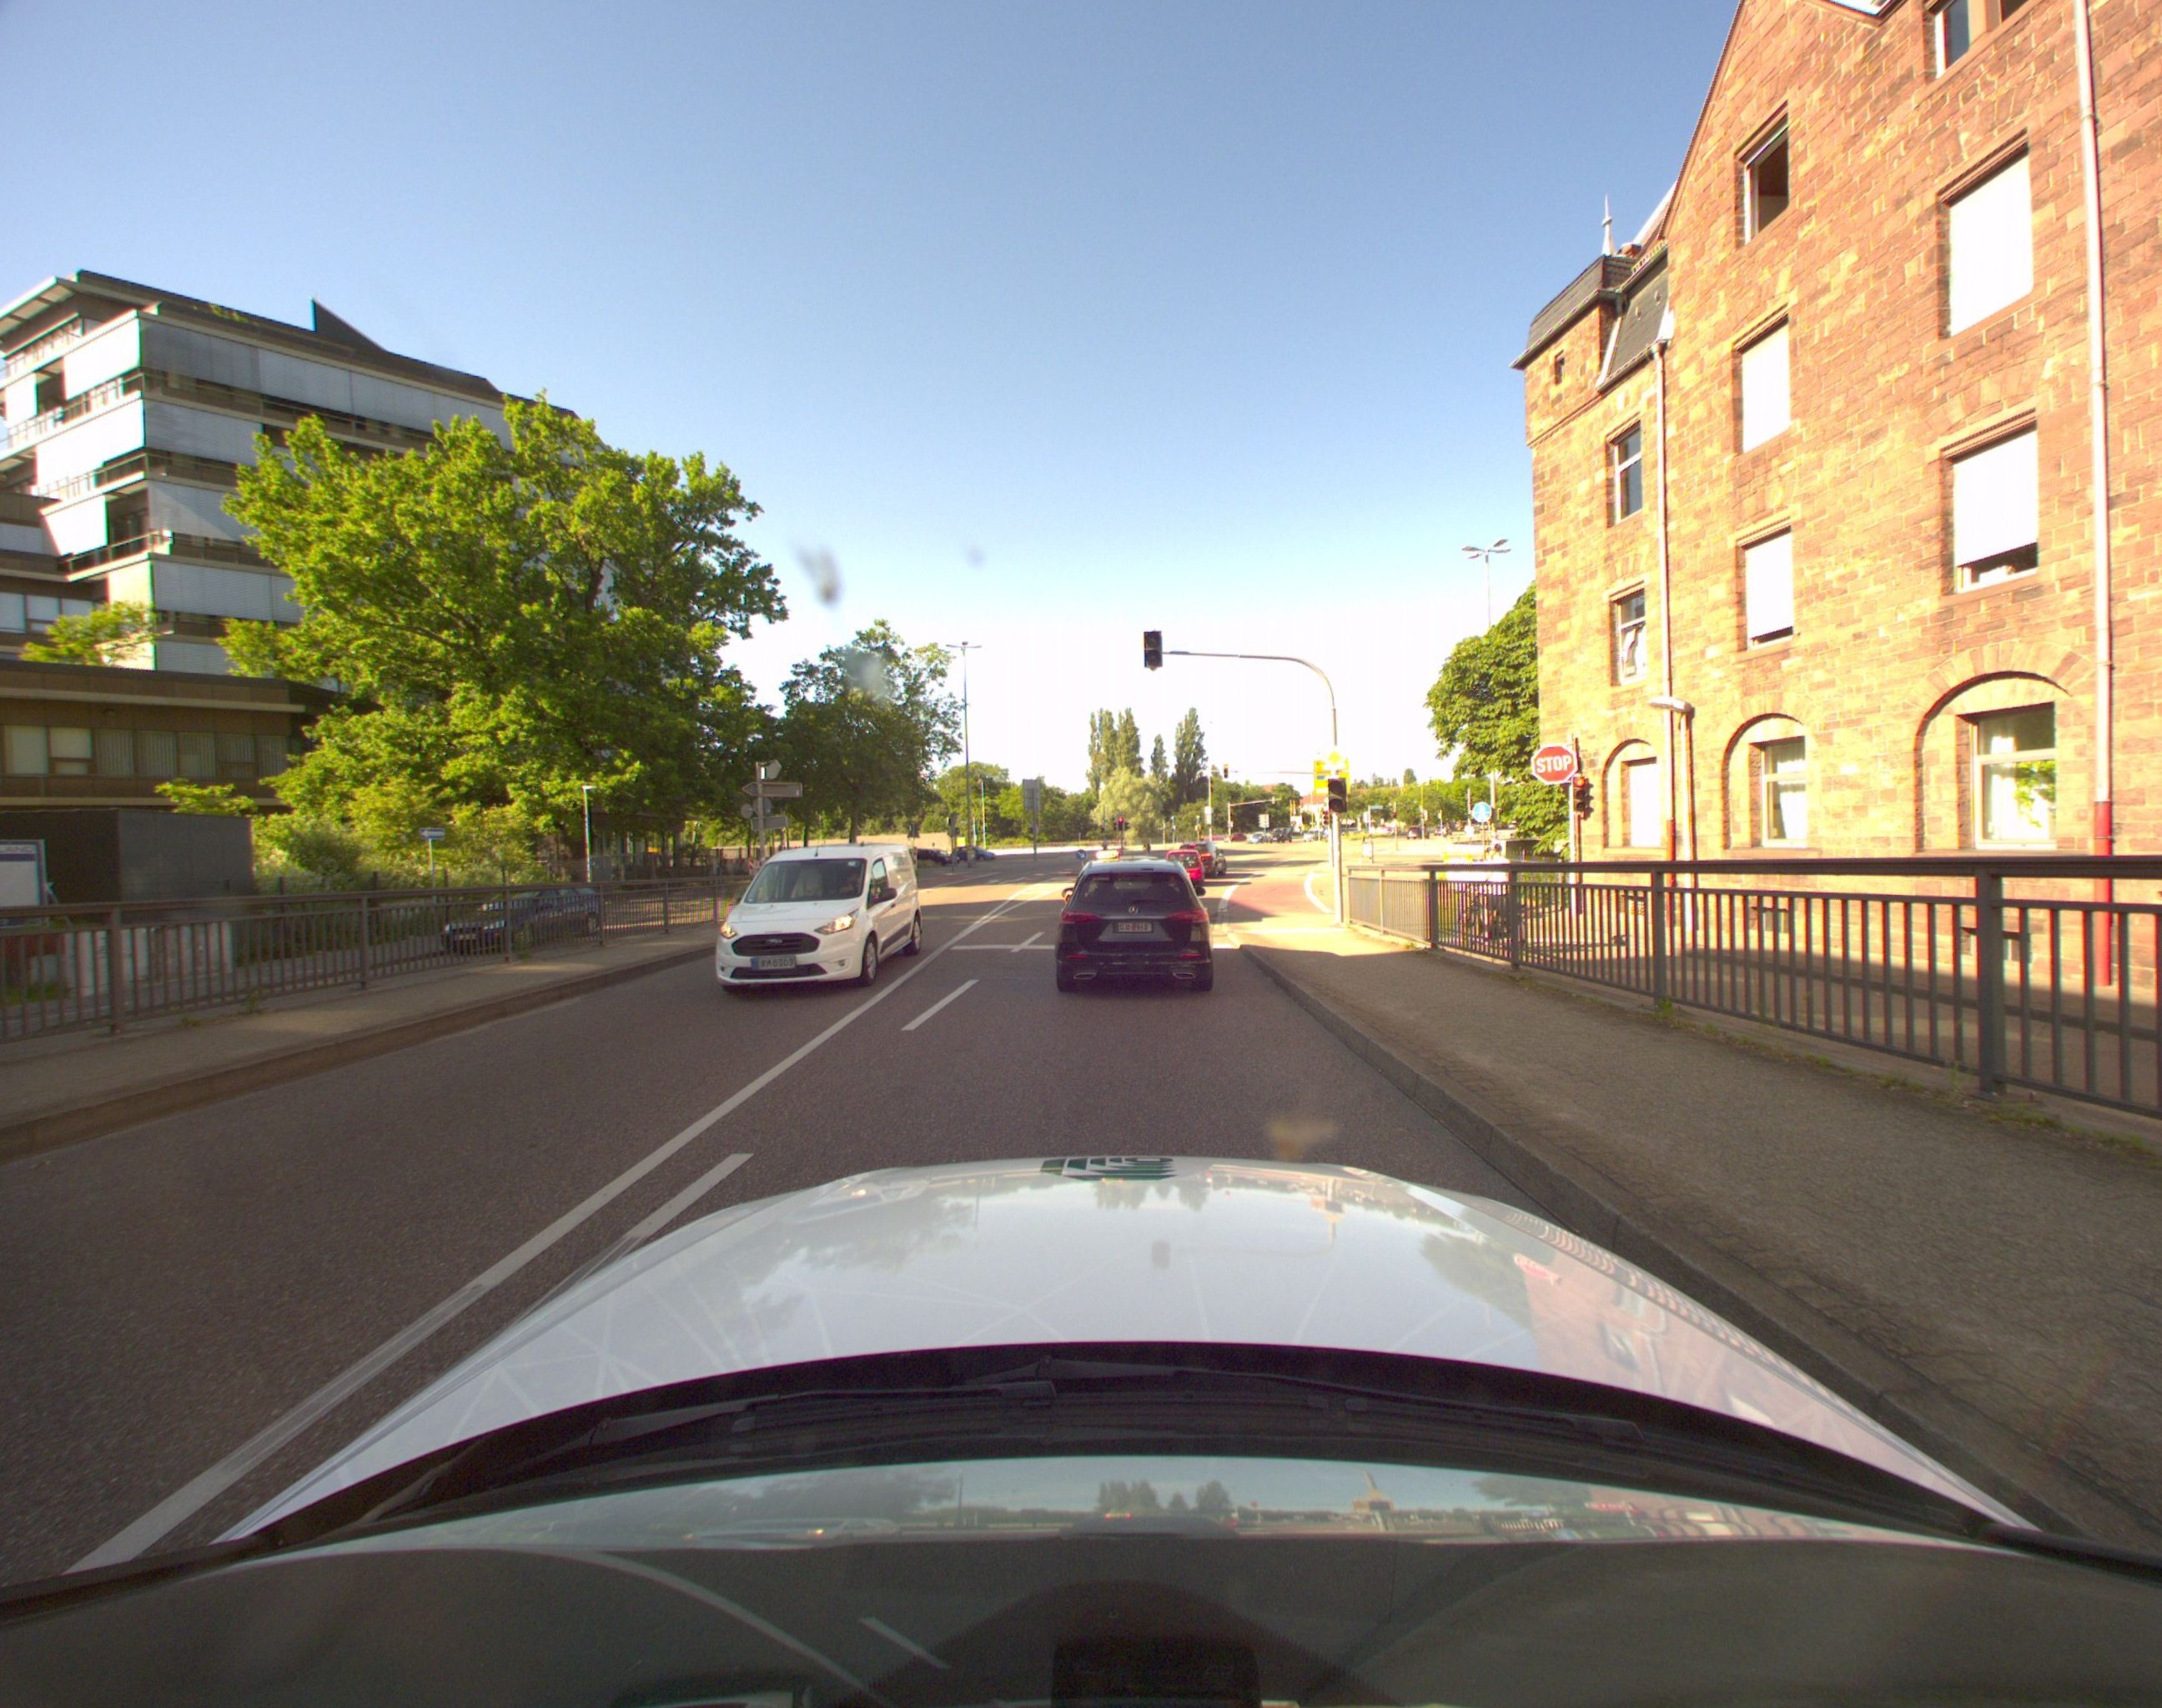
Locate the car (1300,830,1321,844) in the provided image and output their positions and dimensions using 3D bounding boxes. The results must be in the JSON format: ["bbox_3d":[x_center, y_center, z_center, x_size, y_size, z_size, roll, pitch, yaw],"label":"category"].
[{"bbox_3d":[29.962,-2.227,106.281,1.803,1.582,4.129,-2,1,27],"label":"car"}]

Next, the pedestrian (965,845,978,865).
[{"bbox_3d":[-8.700,0.093,64.949,0.683,1.538,1.368,-1,-3,7],"label":"pedestrian"}]

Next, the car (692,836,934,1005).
[{"bbox_3d":[-3.443,0.705,11.647,1.805,1.801,5.118,-2,1,-1],"label":"car"}]

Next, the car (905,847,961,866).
[{"bbox_3d":[-12.232,0.222,67.115,4.393,1.438,1.838,-2,1,31],"label":"car"}]

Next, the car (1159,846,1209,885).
[{"bbox_3d":[4.418,0.436,34.395,1.808,1.479,4.013,0,1,11],"label":"car"}]

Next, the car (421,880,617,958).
[{"bbox_3d":[-14.293,1.586,21.099,1.813,1.503,4.453,-2,1,1],"label":"car"}]

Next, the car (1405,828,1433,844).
[{"bbox_3d":[41.226,-2.163,99.313,1.974,1.794,4.025,-1,-1,40],"label":"car"}]

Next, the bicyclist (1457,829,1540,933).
[{"bbox_3d":[7.147,0.441,13.996,0.798,1.705,1.083,-1,0,-6],"label":"bicyclist"}]

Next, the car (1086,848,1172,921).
[{"bbox_3d":[1.153,0.653,19.743,1.812,1.489,4.004,-2,1,3],"label":"car"}]

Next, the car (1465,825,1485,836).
[{"bbox_3d":[63.082,-3.807,130.338,1.974,1.640,4.026,-2,1,38],"label":"car"}]

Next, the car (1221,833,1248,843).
[{"bbox_3d":[24.728,-2.554,130.950,4.018,1.548,1.978,-3,1,-36],"label":"car"}]

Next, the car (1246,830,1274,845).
[{"bbox_3d":[23.812,-2.166,108.208,1.974,1.864,4.883,-1,1,32],"label":"car"}]

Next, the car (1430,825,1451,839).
[{"bbox_3d":[51.025,-3.140,115.544,1.974,1.793,4.026,-2,1,35],"label":"car"}]

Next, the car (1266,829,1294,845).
[{"bbox_3d":[25.517,-2.164,104.401,1.974,1.935,4.883,-1,1,32],"label":"car"}]

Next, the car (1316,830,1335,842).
[{"bbox_3d":[34.076,-2.495,113.402,1.707,1.582,4.029,-1,1,29],"label":"car"}]

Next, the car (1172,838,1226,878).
[{"bbox_3d":[5.842,0.152,39.832,1.854,1.790,4.435,0,2,18],"label":"car"}]

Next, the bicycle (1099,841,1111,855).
[{"bbox_3d":[2.376,-0.586,79.438,0.682,1.202,2.336,-2,2,14],"label":"bicycle"}]

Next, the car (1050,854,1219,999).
[{"bbox_3d":[0.609,0.785,10.578,1.744,1.494,4.001,-1,-1,1],"label":"car"}]

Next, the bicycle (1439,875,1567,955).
[{"bbox_3d":[7.115,0.981,13.916,0.798,1.110,2.398,-1,1,-5],"label":"bicycle"}]

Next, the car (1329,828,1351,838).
[{"bbox_3d":[38.579,-3.080,121.181,1.974,1.453,4.026,-1,0,34],"label":"car"}]

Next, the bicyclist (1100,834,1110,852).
[{"bbox_3d":[2.332,-1.040,79.318,0.682,1.701,1.203,-2,2,14],"label":"bicyclist"}]

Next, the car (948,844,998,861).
[{"bbox_3d":[-10.209,-0.127,76.878,4.395,1.438,1.837,-2,1,27],"label":"car"}]
